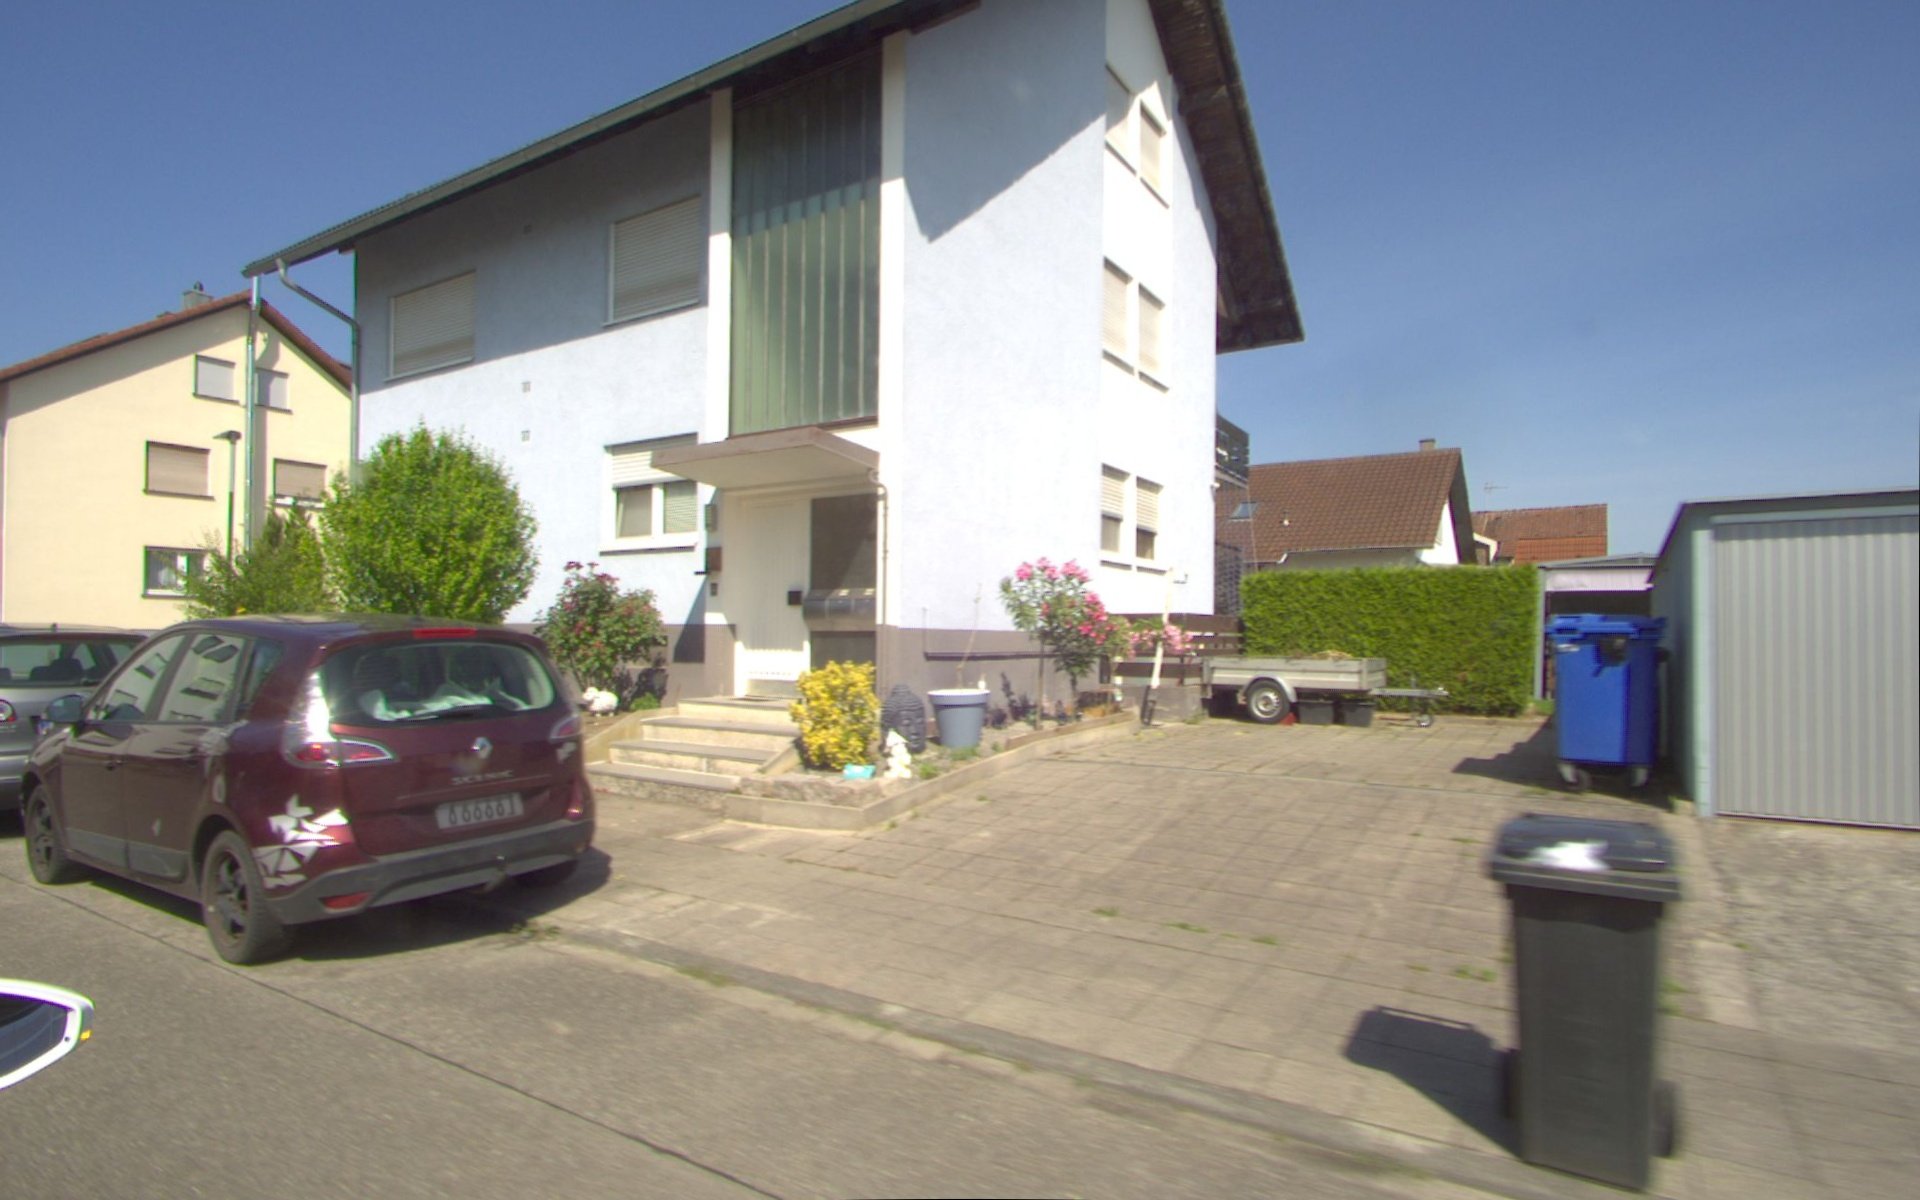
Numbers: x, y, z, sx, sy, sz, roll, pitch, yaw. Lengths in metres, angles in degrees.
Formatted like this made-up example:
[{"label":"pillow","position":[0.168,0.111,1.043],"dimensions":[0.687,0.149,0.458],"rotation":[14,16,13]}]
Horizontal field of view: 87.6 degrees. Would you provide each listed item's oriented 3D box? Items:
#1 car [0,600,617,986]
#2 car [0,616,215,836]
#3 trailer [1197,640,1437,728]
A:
[{"label":"car","position":[-4.045,0.840,5.998],"dimensions":[4.090,1.602,1.641],"rotation":[0,-1,34]},{"label":"car","position":[-8.284,0.944,8.600],"dimensions":[3.989,1.565,1.643],"rotation":[0,-4,32]},{"label":"trailer","position":[4.525,1.016,12.769],"dimensions":[2.646,0.958,1.324],"rotation":[-1,-1,35]}]
